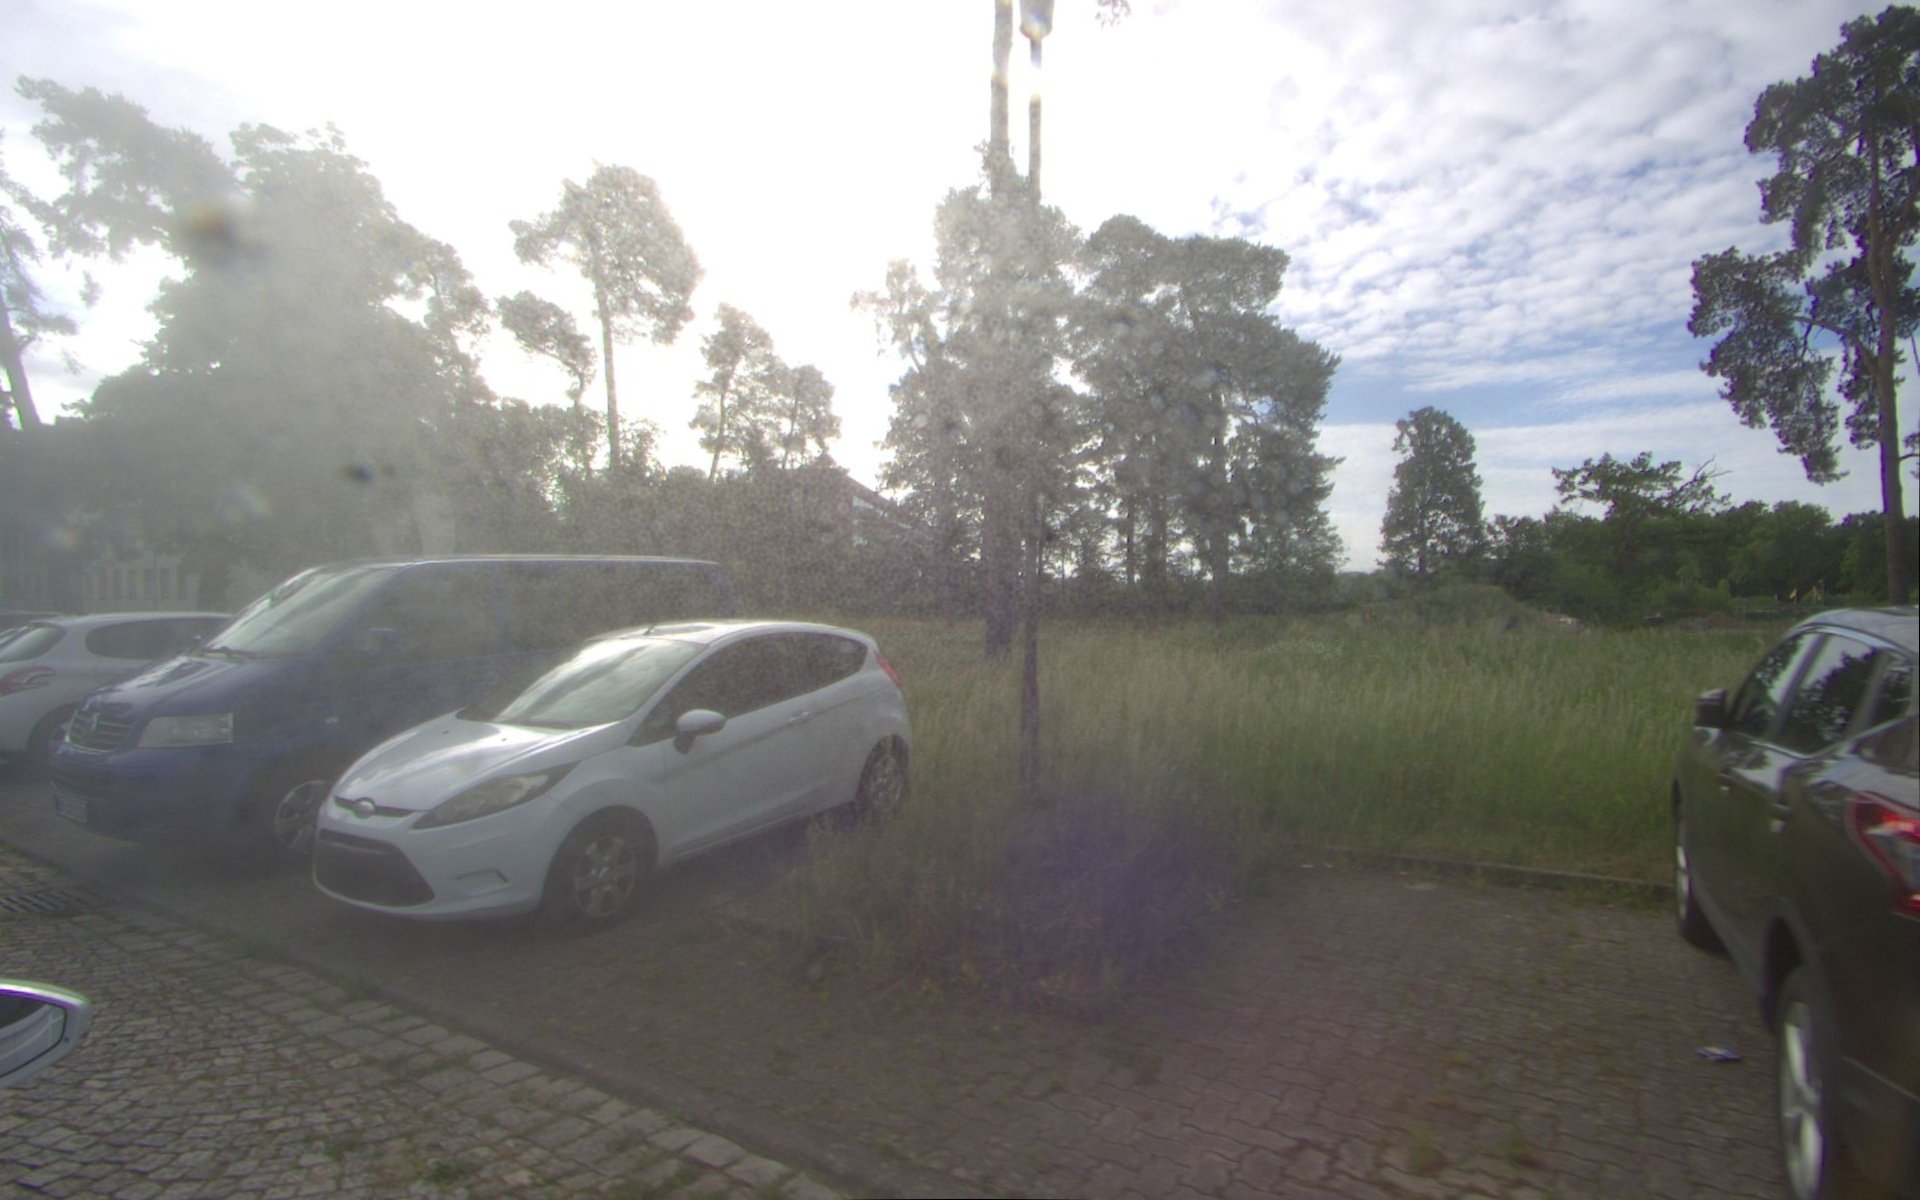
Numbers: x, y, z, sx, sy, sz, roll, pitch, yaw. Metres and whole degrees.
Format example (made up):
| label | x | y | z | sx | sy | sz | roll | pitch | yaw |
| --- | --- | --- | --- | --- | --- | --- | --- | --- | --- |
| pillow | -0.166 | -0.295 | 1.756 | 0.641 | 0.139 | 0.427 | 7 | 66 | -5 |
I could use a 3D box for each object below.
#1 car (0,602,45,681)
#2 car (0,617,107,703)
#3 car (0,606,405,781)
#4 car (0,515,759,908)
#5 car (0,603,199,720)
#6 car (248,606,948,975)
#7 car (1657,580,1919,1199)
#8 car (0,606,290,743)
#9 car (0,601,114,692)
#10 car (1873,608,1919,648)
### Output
| label | x | y | z | sx | sy | sz | roll | pitch | yaw |
| --- | --- | --- | --- | --- | --- | --- | --- | --- | --- |
| car | -19.143 | 0.778 | 17.589 | 1.727 | 1.456 | 4.184 | 0 | 0 | 25 |
| car | -15.304 | 0.913 | 14.986 | 1.606 | 1.239 | 3.577 | 0 | 0 | 34 |
| car | -8.224 | 0.830 | 10.692 | 1.740 | 1.498 | 3.645 | 0 | 1 | 32 |
| car | -3.905 | 0.570 | 7.726 | 1.937 | 2.031 | 4.787 | 0 | 1 | 31 |
| car | -12.960 | 0.804 | 13.848 | 1.718 | 1.507 | 3.498 | 0 | 1 | 32 |
| car | -1.830 | 0.808 | 6.381 | 1.695 | 1.498 | 4.092 | 0 | 0 | 30 |
| car | 3.548 | 0.770 | 3.099 | 1.924 | 1.616 | 4.197 | 0 | 0 | 30 |
| car | -10.752 | 0.822 | 12.053 | 1.740 | 1.466 | 4.121 | 0 | 0 | 33 |
| car | -16.971 | 0.778 | 16.666 | 1.660 | 1.496 | 4.098 | 0 | 0 | 31 |
| car | 66.115 | 2.006 | 69.365 | 2.238 | 2.674 | 5.672 | 0 | -2 | 20 |
